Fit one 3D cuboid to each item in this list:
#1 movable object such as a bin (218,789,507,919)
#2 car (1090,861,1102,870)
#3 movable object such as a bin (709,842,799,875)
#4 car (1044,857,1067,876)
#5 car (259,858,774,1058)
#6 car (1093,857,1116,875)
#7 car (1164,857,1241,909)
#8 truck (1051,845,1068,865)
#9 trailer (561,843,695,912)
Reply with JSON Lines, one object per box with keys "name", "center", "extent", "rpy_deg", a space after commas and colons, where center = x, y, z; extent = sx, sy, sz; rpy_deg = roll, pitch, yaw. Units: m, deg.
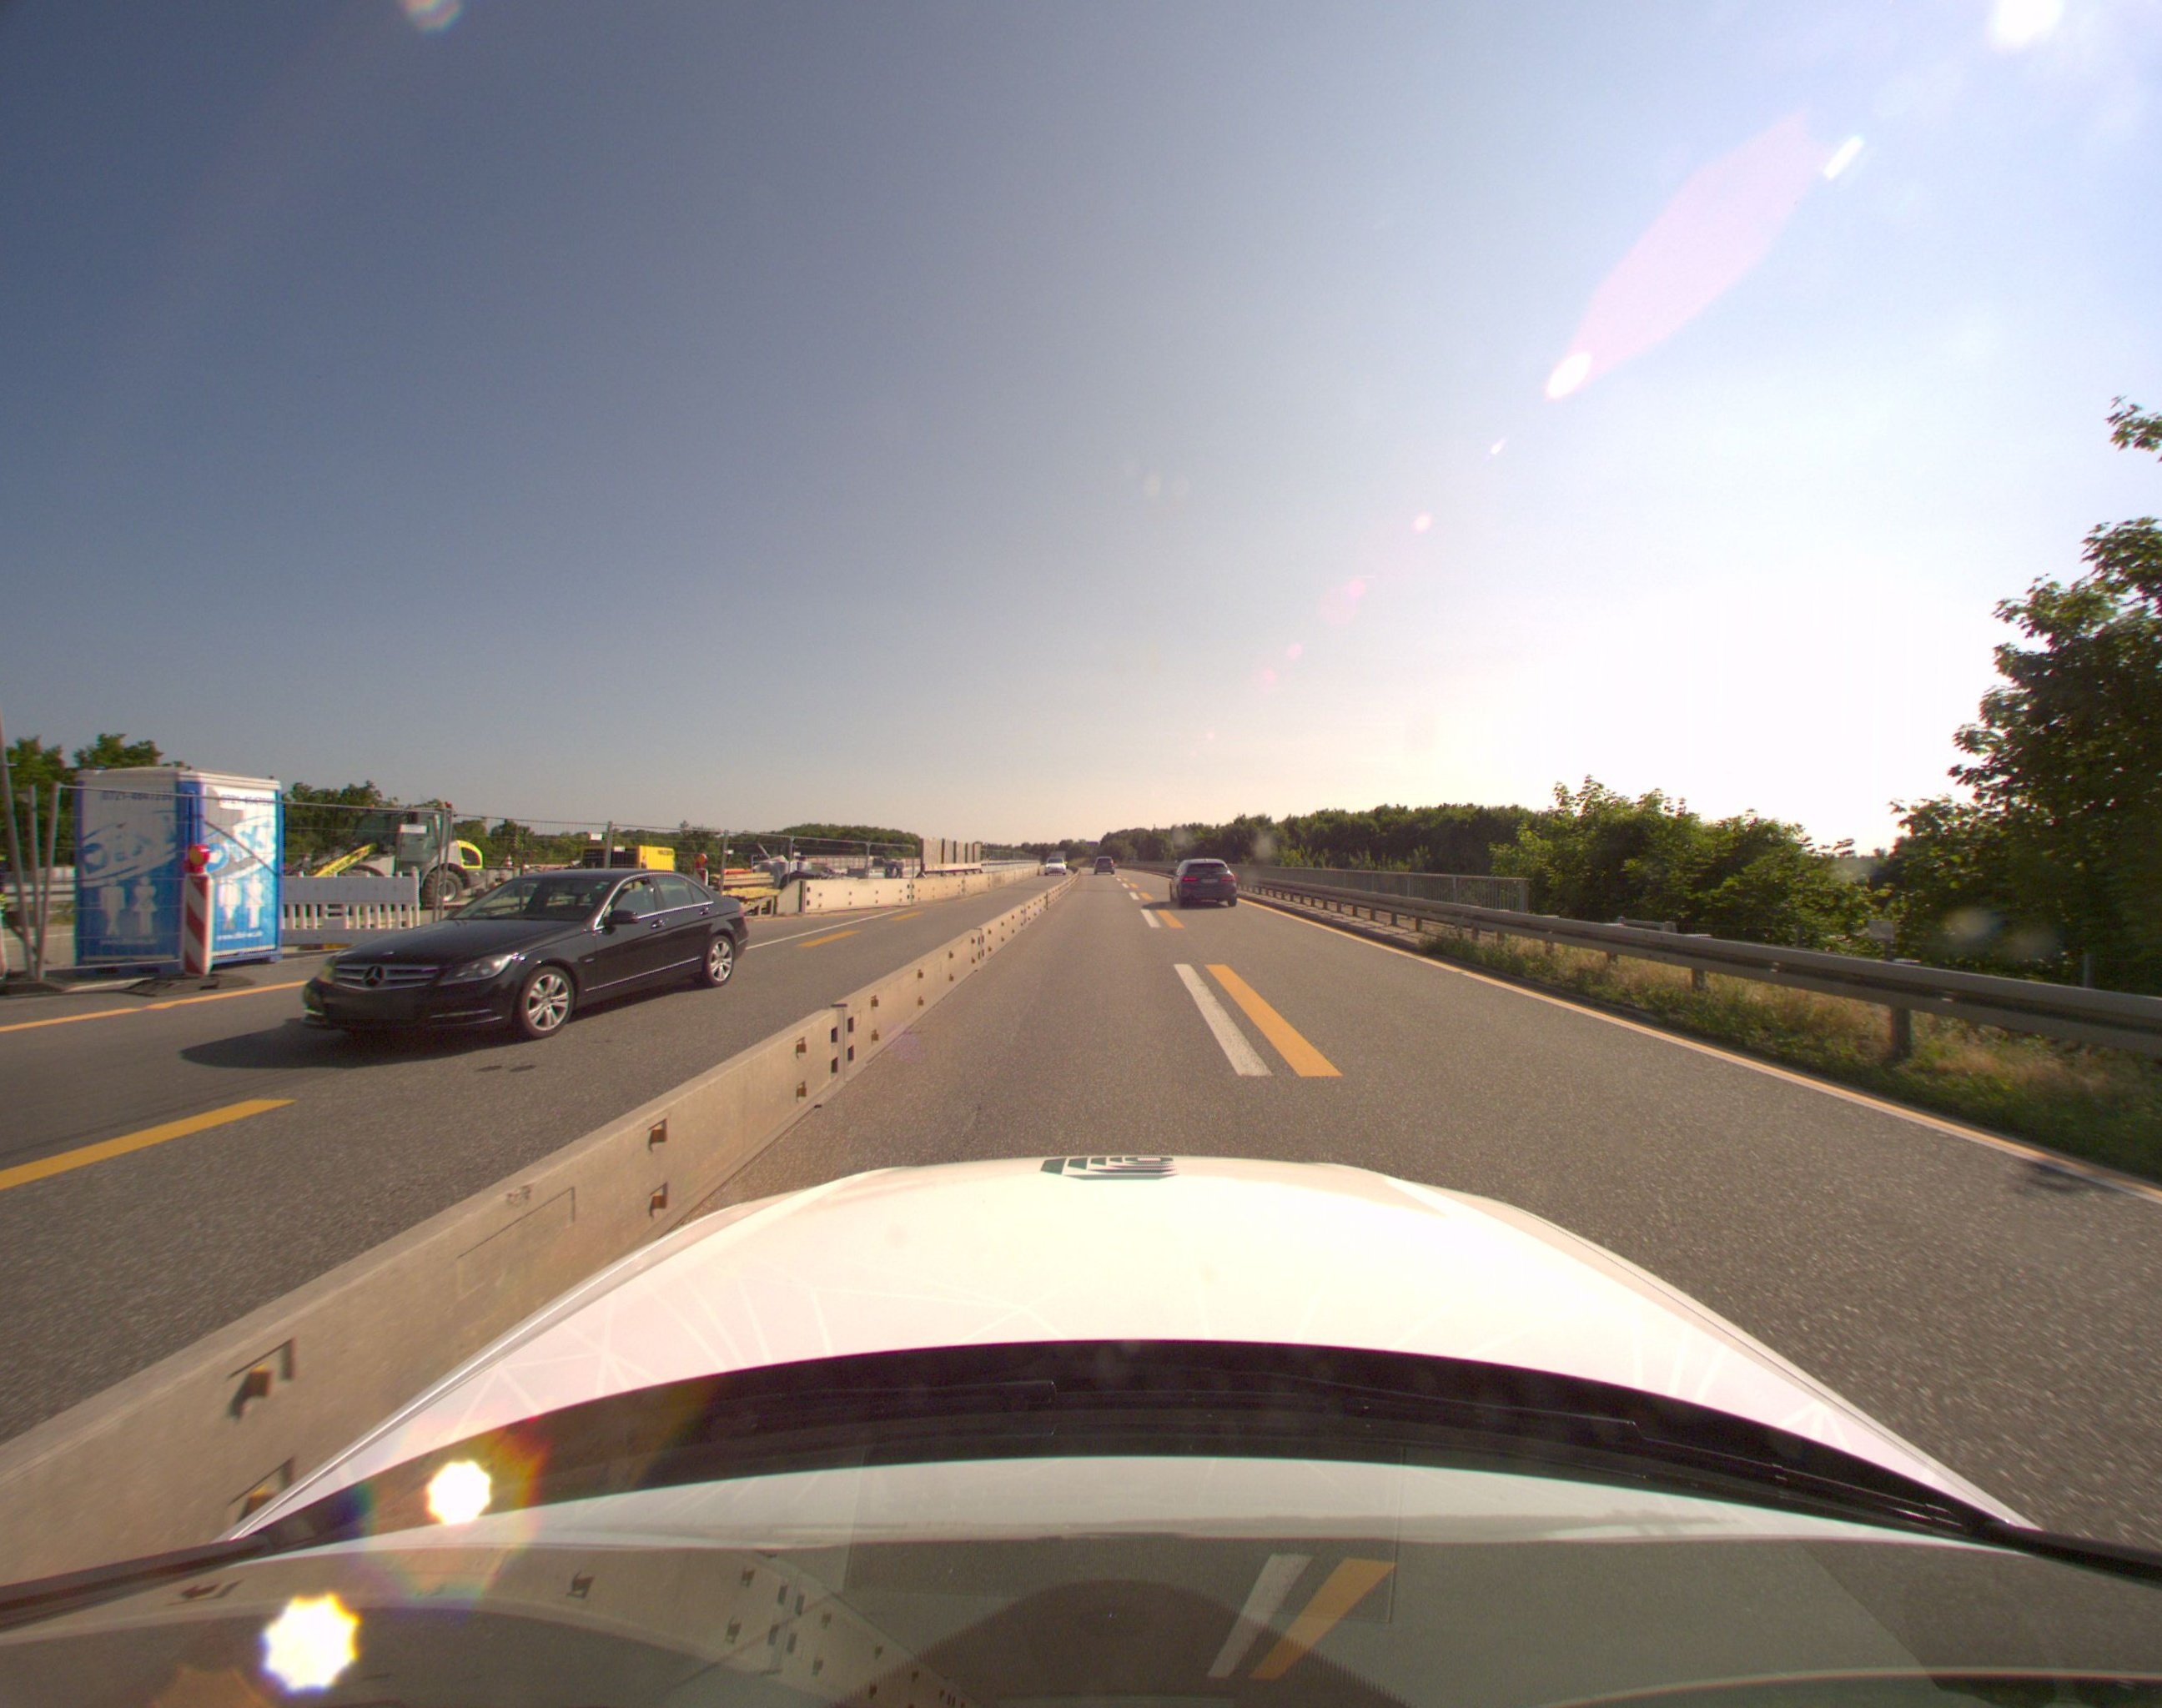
{"name": "movable object such as a bin", "center": [-16.927, 0.009, 19.673], "extent": [2.020, 2.715, 5.117], "rpy_deg": [1, 0, 7]}
{"name": "car", "center": [2.936, 2.292, 161.107], "extent": [1.990, 1.688, 3.992], "rpy_deg": [1, 0, -5]}
{"name": "movable object such as a bin", "center": [-21.420, 0.301, 53.385], "extent": [5.347, 2.116, 2.249], "rpy_deg": [0, 0, 20]}
{"name": "car", "center": [-2.304, 1.092, 74.913], "extent": [1.976, 1.651, 4.547], "rpy_deg": [1, 0, 0]}
{"name": "car", "center": [-5.297, 0.813, 8.671], "extent": [1.850, 1.473, 4.692], "rpy_deg": [1, 0, 6]}
{"name": "car", "center": [2.172, 1.079, 74.133], "extent": [1.985, 1.567, 4.003], "rpy_deg": [0, 0, 3]}
{"name": "car", "center": [3.755, 0.854, 25.749], "extent": [1.913, 1.494, 4.001], "rpy_deg": [-1, 0, 1]}
{"name": "truck", "center": [-5.397, 0.191, 203.923], "extent": [3.753, 4.911, 14.119], "rpy_deg": [1, 0, -3]}
{"name": "trailer", "center": [-11.908, 0.587, 21.671], "extent": [1.716, 1.648, 3.528], "rpy_deg": [1, 0, -4]}
